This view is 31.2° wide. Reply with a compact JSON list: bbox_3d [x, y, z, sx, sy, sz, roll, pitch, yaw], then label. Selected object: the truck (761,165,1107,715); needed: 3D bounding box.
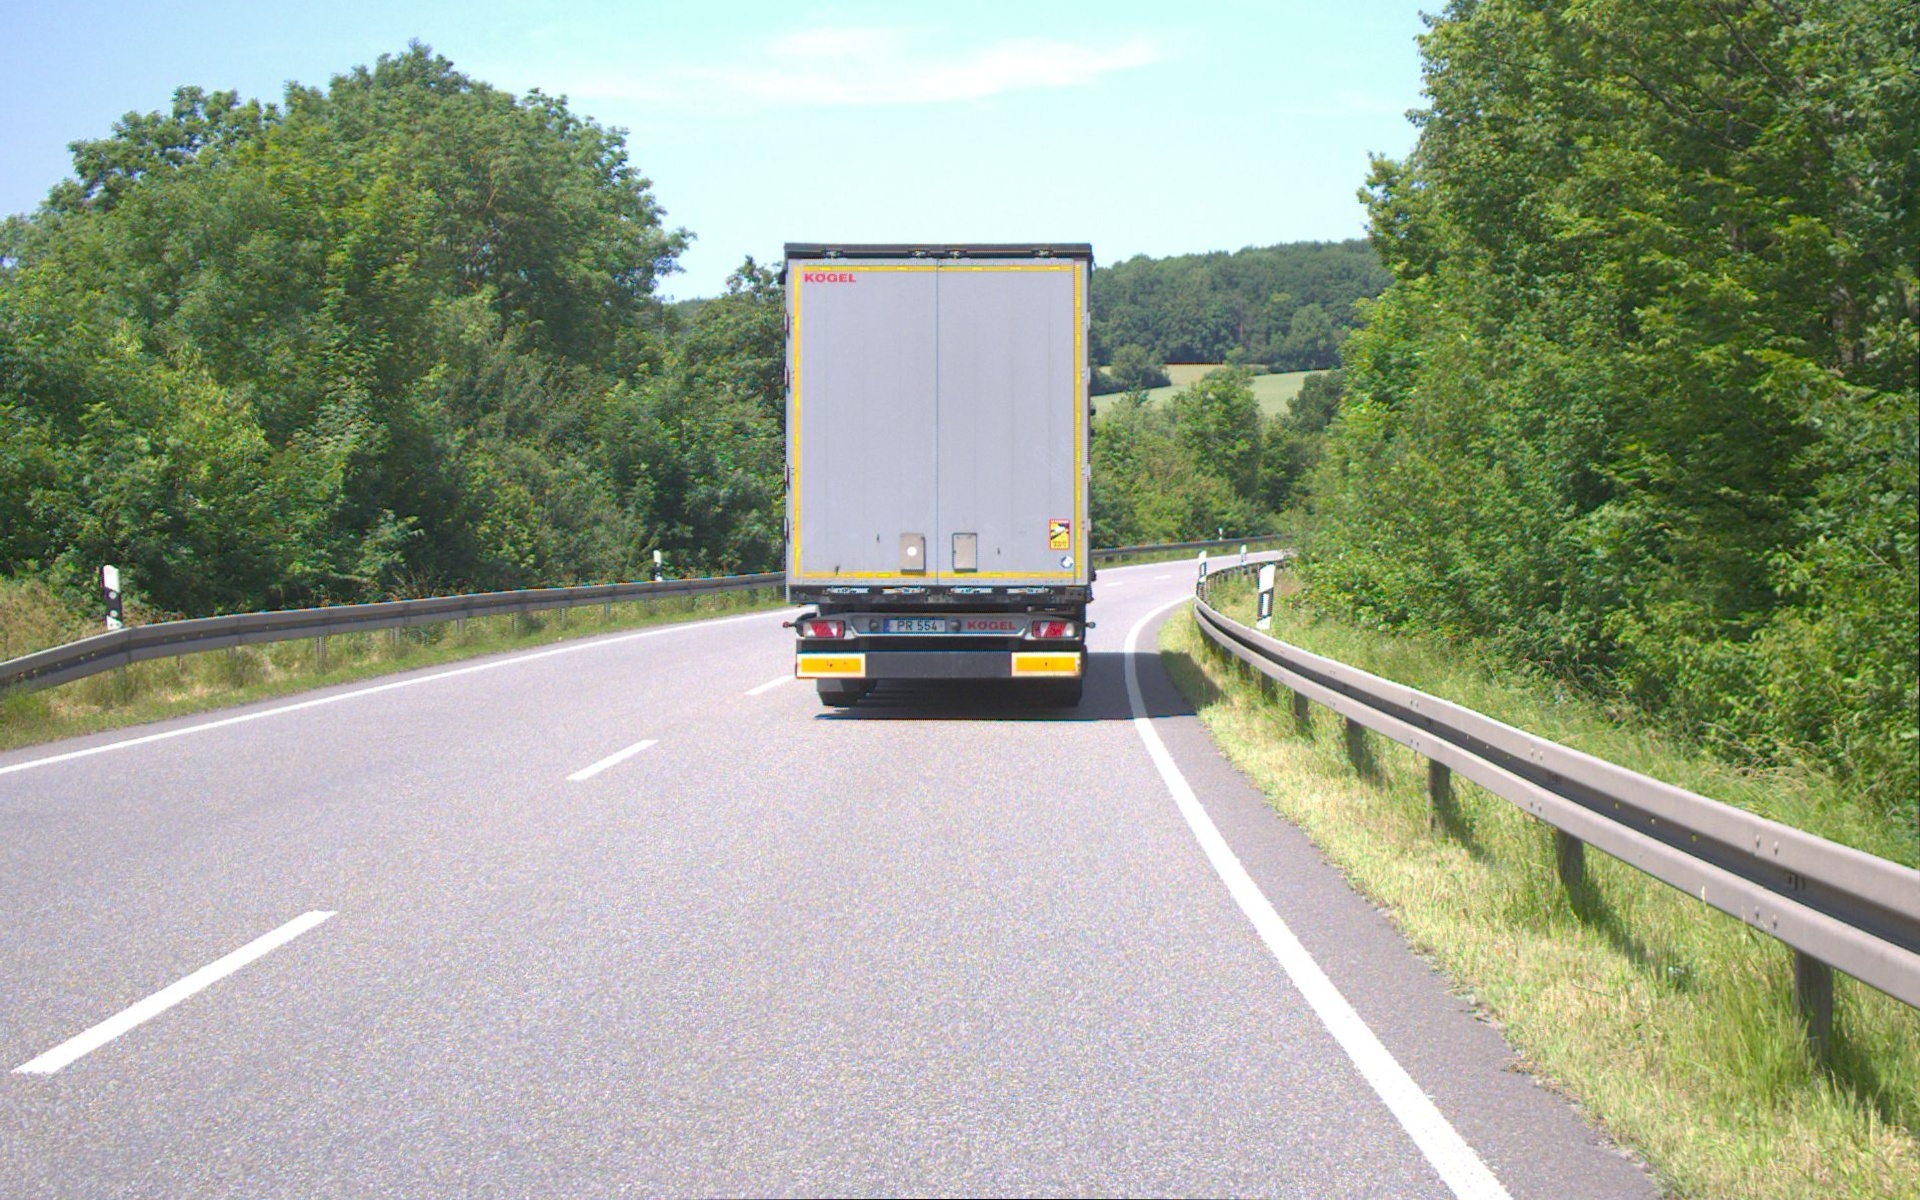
[{"bbox_3d":[-0.105,-1.429,34.253,2.817,4.517,11.768,1,1,1],"label":"truck"}]
